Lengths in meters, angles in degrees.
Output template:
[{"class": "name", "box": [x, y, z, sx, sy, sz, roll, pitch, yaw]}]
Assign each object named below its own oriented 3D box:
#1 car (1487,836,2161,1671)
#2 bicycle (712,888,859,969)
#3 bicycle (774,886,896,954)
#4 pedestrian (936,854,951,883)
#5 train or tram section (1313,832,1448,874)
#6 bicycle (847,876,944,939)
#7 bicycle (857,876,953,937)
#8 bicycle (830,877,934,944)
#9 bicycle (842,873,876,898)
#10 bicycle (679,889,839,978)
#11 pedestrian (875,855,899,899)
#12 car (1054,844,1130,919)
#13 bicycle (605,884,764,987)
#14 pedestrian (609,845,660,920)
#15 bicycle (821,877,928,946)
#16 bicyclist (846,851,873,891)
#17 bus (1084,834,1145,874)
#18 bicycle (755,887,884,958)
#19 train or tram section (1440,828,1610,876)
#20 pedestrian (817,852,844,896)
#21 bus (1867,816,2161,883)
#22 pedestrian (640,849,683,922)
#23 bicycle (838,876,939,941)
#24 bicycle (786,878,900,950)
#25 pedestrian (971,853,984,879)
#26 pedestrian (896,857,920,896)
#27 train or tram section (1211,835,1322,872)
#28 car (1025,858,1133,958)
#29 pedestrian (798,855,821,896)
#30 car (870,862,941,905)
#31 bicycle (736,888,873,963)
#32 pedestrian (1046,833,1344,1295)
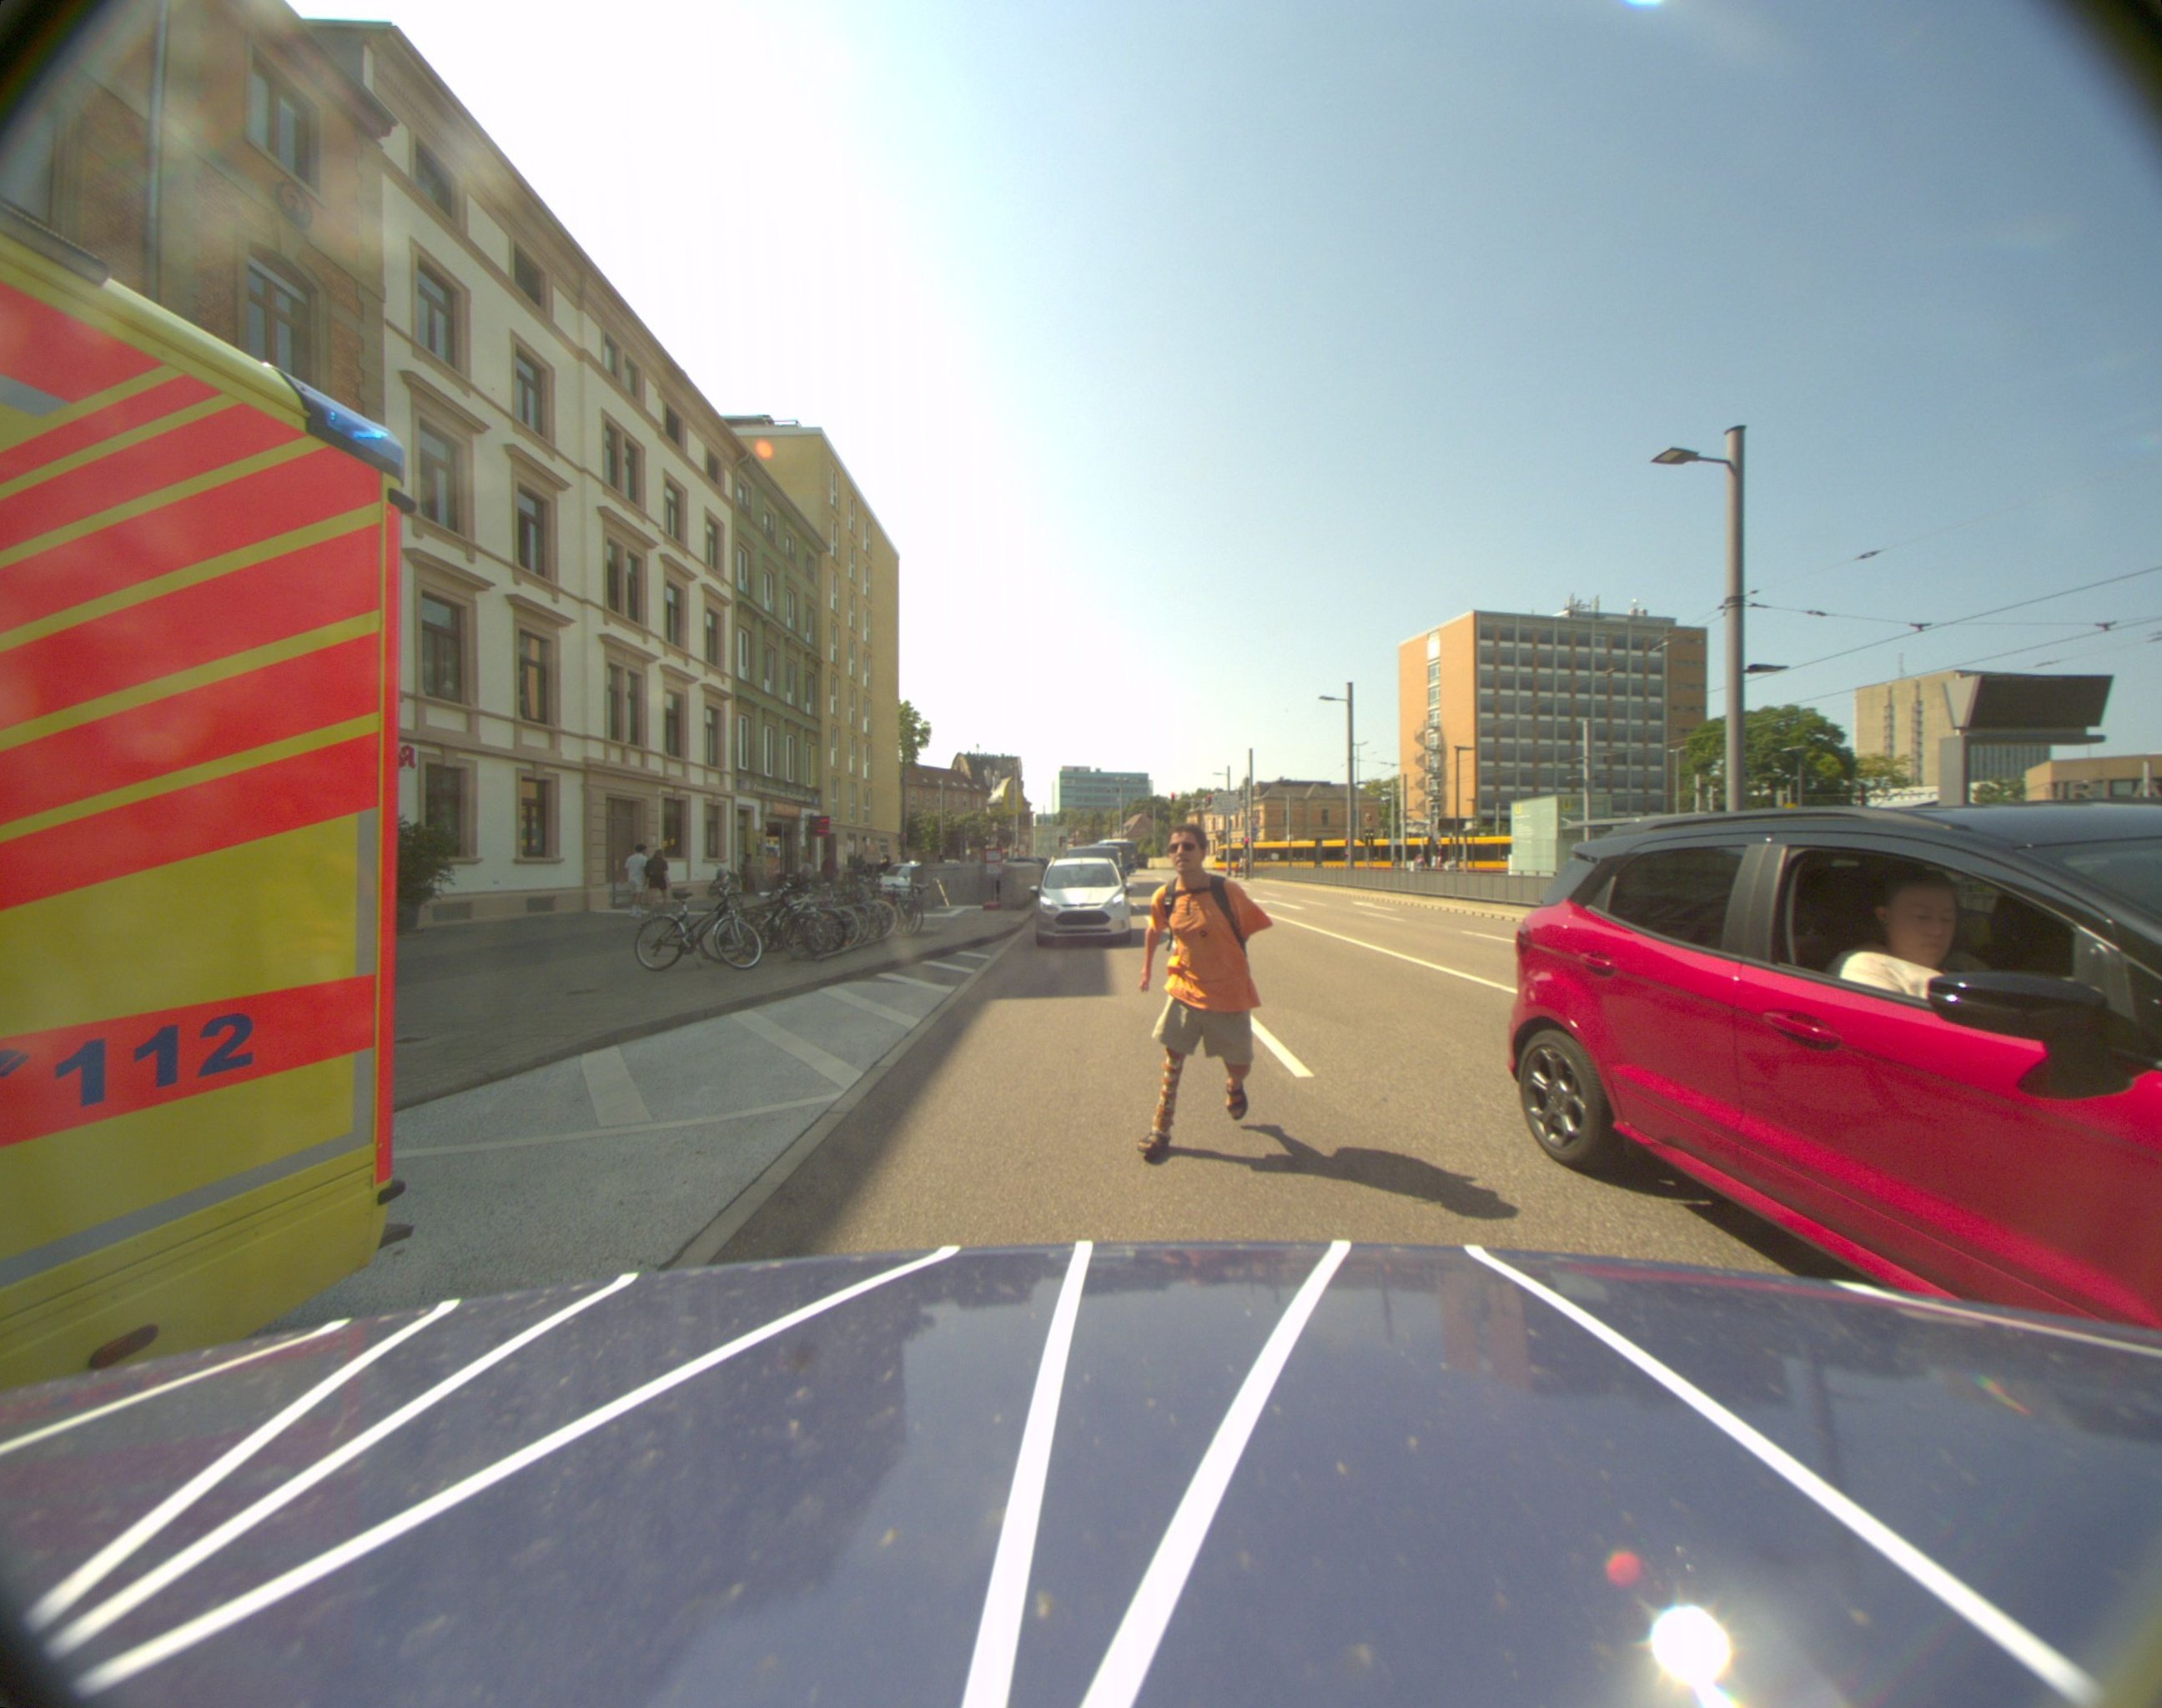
[{"class": "car", "box": [2.922, 0.768, 2.004, 1.634, 1.611, 3.968, -2, 0, 2]}, {"class": "bicycle", "box": [-4.260, 1.068, 11.042, 1.841, 1.054, 0.657, -2, 0, 1]}, {"class": "bicycle", "box": [-4.217, 1.124, 13.098, 1.841, 1.050, 0.657, -2, 0, 1]}, {"class": "pedestrian", "box": [-7.760, 0.820, 42.808, 0.645, 1.619, 0.797, 1, 0, 2]}, {"class": "train or tram section", "box": [28.537, -0.083, 73.229, 12.331, 3.743, 2.004, 0, 0, 45]}, {"class": "bicycle", "box": [-3.765, 1.086, 15.495, 1.841, 1.196, 0.434, -2, 0, 1]}, {"class": "bicycle", "box": [-3.707, 1.104, 16.095, 1.841, 1.196, 0.637, -2, 0, 1]}, {"class": "bicycle", "box": [-3.800, 1.074, 14.555, 1.841, 1.196, 0.434, -2, 0, 1]}, {"class": "bicycle", "box": [-8.882, 1.255, 30.481, 0.721, 0.948, 2.001, -1, 0, 1]}, {"class": "bicycle", "box": [-4.273, 1.039, 10.168, 1.807, 1.069, 0.699, -2, 0, 0]}, {"class": "pedestrian", "box": [-7.927, 0.936, 31.106, 0.688, 1.748, 0.797, 1, 0, 8]}, {"class": "car", "box": [0.322, 0.738, 22.831, 1.998, 1.953, 4.815, -1, 0, 1]}, {"class": "bicycle", "box": [-4.965, 1.007, 9.577, 1.607, 1.178, 0.690, -2, 0, 2]}, {"class": "pedestrian", "box": [-10.981, 0.687, 18.723, 0.727, 1.793, 0.928, 1, 0, -3]}, {"class": "bicycle", "box": [-3.823, 1.065, 14.119, 1.841, 1.196, 0.434, -2, 0, 1]}, {"class": "bicyclist", "box": [-8.892, 0.689, 30.470, 0.721, 1.577, 1.103, -1, 0, 1]}, {"class": "bus", "box": [2.766, 0.014, 67.855, 2.922, 3.119, 12.334, -2, 0, -9]}, {"class": "bicycle", "box": [-4.243, 1.108, 12.408, 1.841, 1.054, 0.657, -2, 0, 1]}, {"class": "train or tram section", "box": [37.311, -0.115, 64.568, 12.331, 3.743, 2.004, 0, 0, 45]}, {"class": "pedestrian", "box": [-9.924, 0.794, 30.118, 0.772, 1.724, 0.882, 1, 0, 0]}, {"class": "bus", "box": [51.802, -0.190, 40.660, 13.371, 3.275, 3.357, -2, 0, 45]}, {"class": "pedestrian", "box": [-10.282, 0.759, 18.645, 0.645, 1.761, 0.796, 1, 0, -4]}, {"class": "bicycle", "box": [-3.790, 1.063, 15.017, 1.841, 1.212, 0.434, -2, 0, 1]}, {"class": "bicycle", "box": [-4.274, 1.069, 13.717, 1.841, 1.196, 0.549, -2, 0, 1]}, {"class": "pedestrian", "box": [-6.535, 0.774, 47.898, 0.645, 1.619, 0.797, 1, 0, 4]}, {"class": "pedestrian", "box": [-7.488, 0.964, 32.903, 0.644, 1.619, 0.798, 1, 0, 19]}, {"class": "train or tram section", "box": [19.772, -0.028, 81.889, 12.331, 3.743, 2.004, 0, 0, 45]}, {"class": "car", "box": [-0.002, 0.906, 14.705, 1.728, 1.579, 4.000, -3, 0, 1]}, {"class": "pedestrian", "box": [-10.847, 0.842, 30.372, 0.645, 1.619, 0.796, 1, 0, 0]}, {"class": "car", "box": [-6.615, 1.068, 29.069, 1.666, 1.418, 3.934, 2, 0, 2]}, {"class": "bicycle", "box": [-4.250, 1.094, 11.741, 1.841, 1.047, 0.657, -2, 0, 1]}, {"class": "pedestrian", "box": [0.597, 0.786, 3.617, 0.964, 1.730, 1.242, 0, 1, 33]}]
